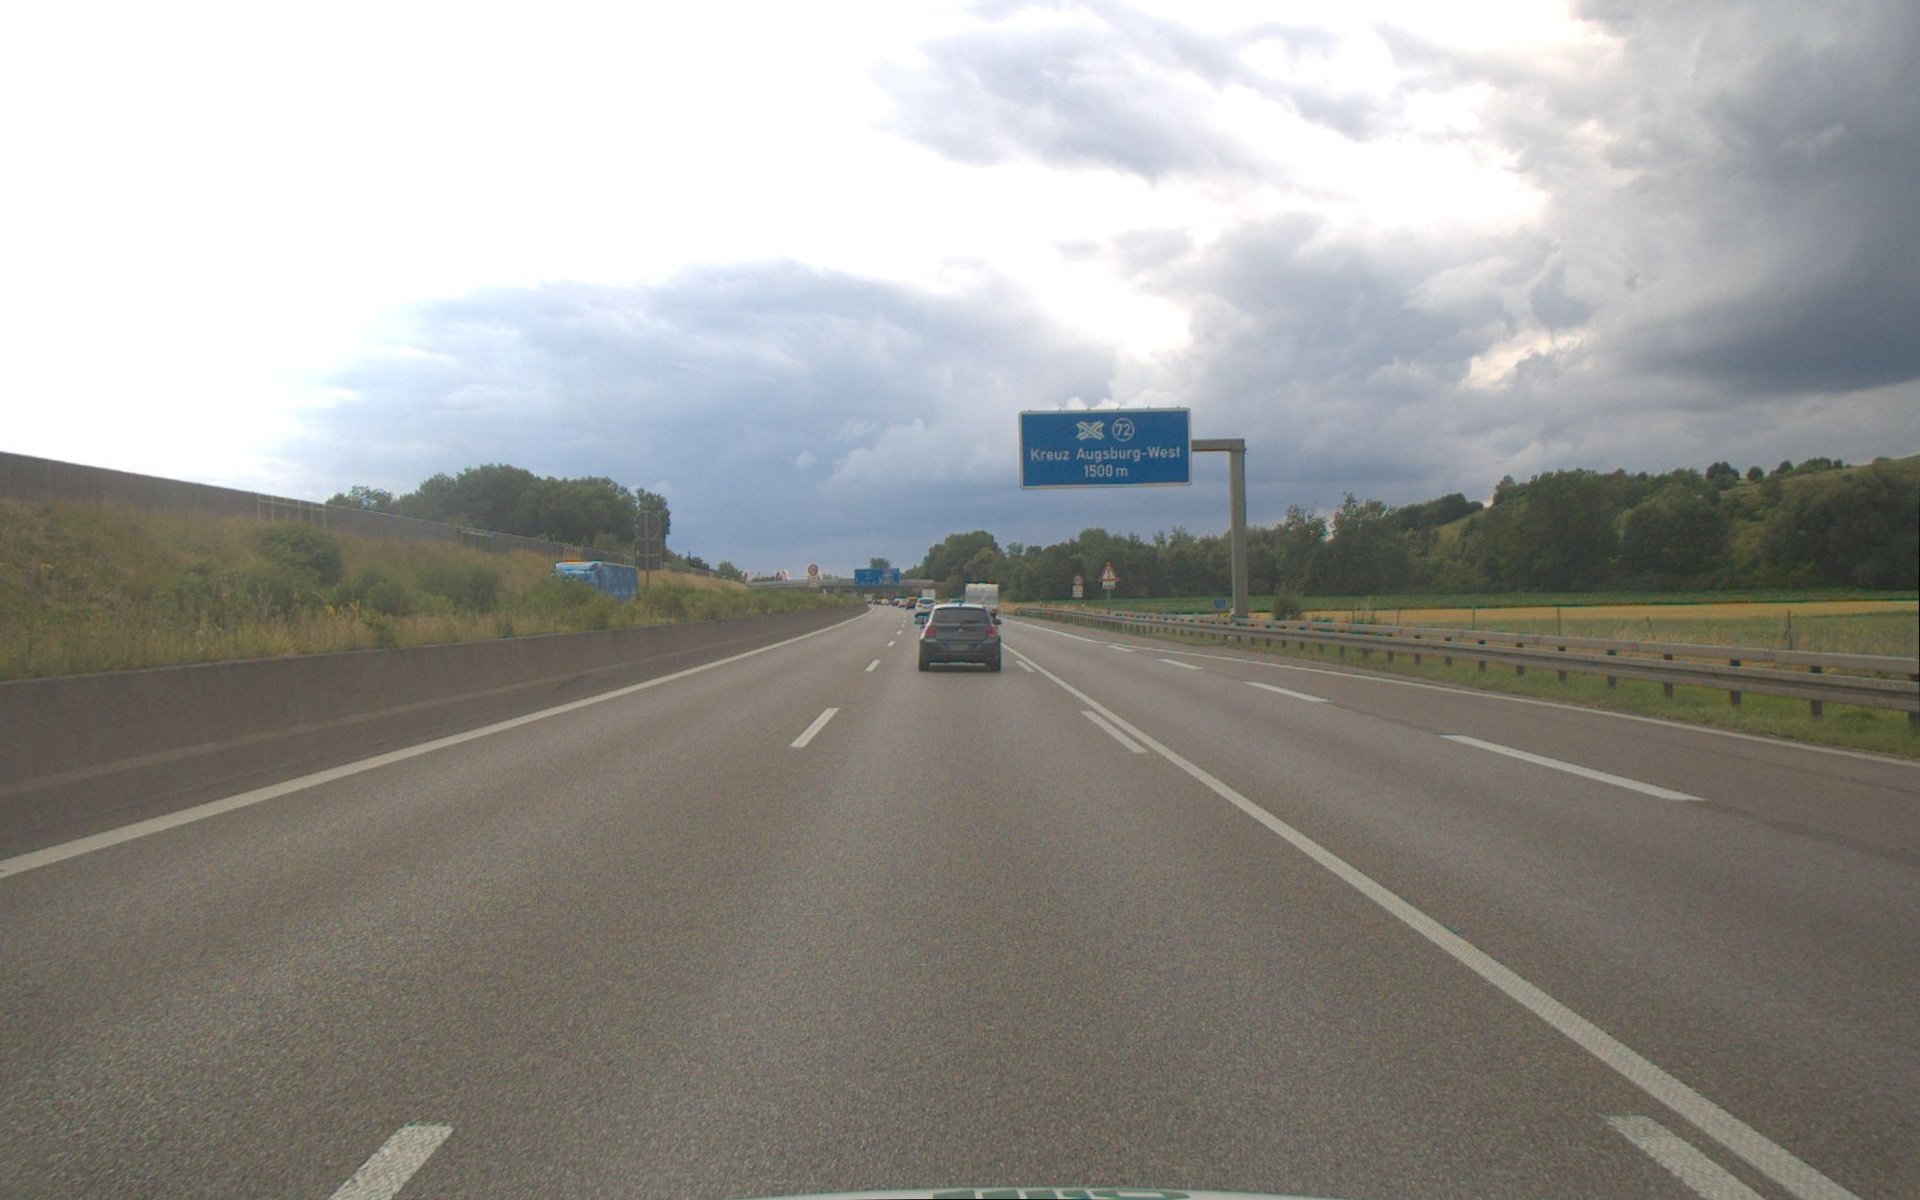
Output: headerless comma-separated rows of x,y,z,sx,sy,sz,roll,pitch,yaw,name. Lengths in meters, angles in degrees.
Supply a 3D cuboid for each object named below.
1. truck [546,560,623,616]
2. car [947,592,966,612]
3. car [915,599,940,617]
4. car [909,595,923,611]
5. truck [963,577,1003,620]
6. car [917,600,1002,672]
-21.705,-0.670,95.934,2.924,3.040,6.742,1,0,-1,truck
-0.372,0.220,171.351,1.953,2.049,3.999,-1,0,-1,car
-2.548,0.639,129.734,1.953,1.321,3.999,-1,0,-1,car
-5.964,0.408,224.596,1.953,2.049,3.999,-1,0,-1,car
1.652,-0.134,124.975,2.655,3.016,12.445,1,0,-1,truck
-0.029,0.730,35.712,1.708,1.413,4.000,1,0,-1,car
